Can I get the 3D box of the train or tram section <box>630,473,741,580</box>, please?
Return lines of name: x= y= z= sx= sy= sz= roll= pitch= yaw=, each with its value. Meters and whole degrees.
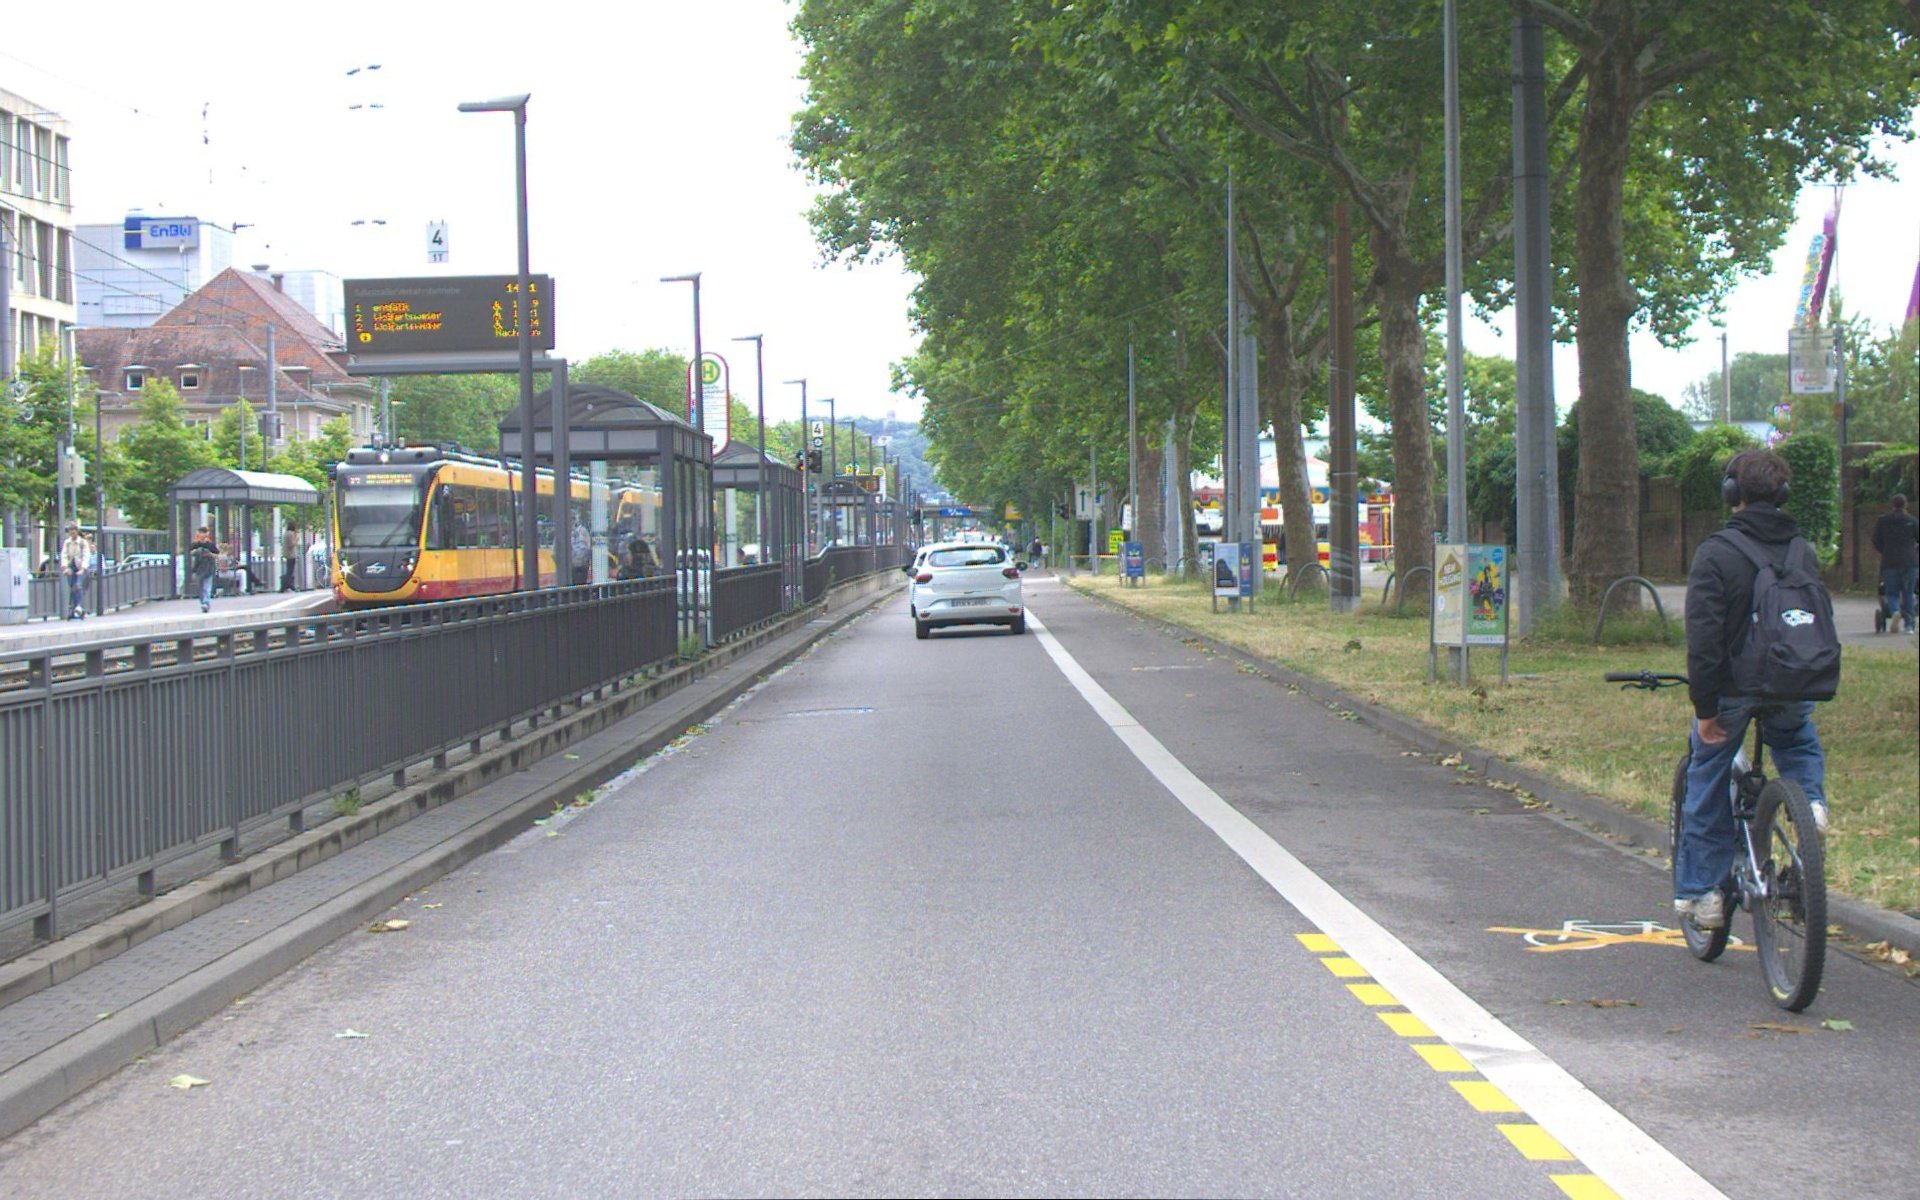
train or tram section: x=-11.364 y=-2.978 z=143.815 sx=3.180 sy=4.164 sz=14.734 roll=-1 pitch=1 yaw=1

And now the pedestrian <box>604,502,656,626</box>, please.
pedestrian: x=-4.840 y=-0.528 z=50.431 sx=0.670 sy=1.787 sz=1.113 roll=-1 pitch=0 yaw=-8

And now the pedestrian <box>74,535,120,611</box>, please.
pedestrian: x=-23.169 y=-0.730 z=92.299 sx=0.933 sy=2.007 sz=1.032 roll=-1 pitch=0 yaw=-1

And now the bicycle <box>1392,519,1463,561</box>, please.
bicycle: x=13.404 y=-1.723 z=98.582 sx=1.890 sy=1.101 sz=0.550 roll=-3 pitch=1 yaw=-1

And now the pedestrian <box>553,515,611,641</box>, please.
pedestrian: x=-5.454 y=-0.321 z=49.610 sx=0.670 sy=1.787 sz=1.113 roll=-1 pitch=0 yaw=-13

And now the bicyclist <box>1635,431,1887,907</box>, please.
bicyclist: x=2.657 y=0.221 z=11.454 sx=0.641 sy=1.525 sz=0.665 roll=-1 pitch=0 yaw=-1

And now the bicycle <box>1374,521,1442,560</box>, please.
bicycle: x=13.513 y=-1.802 z=103.744 sx=1.921 sy=1.087 sz=0.550 roll=-3 pitch=1 yaw=-1

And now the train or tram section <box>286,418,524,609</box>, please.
train or tram section: x=-12.123 y=-1.825 z=76.281 sx=3.237 sy=3.848 sz=11.311 roll=-1 pitch=1 yaw=1

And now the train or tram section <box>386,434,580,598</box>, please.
train or tram section: x=-11.999 y=-2.061 z=87.653 sx=3.163 sy=3.848 sz=11.311 roll=-1 pitch=1 yaw=1

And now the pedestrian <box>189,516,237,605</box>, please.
pedestrian: x=-15.249 y=-0.803 z=70.196 sx=0.711 sy=1.789 sz=1.160 roll=-1 pitch=0 yaw=-1

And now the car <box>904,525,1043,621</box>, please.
car: x=0.256 y=-0.441 z=55.529 sx=1.885 sy=1.448 sz=3.999 roll=-1 pitch=1 yaw=5

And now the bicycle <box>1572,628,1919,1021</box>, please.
bicycle: x=2.645 y=0.695 z=11.652 sx=0.652 sy=1.146 sz=2.283 roll=-1 pitch=0 yaw=-2

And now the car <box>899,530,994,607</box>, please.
car: x=-0.258 y=-0.685 z=73.098 sx=1.841 sy=1.546 sz=4.000 roll=-2 pitch=1 yaw=2

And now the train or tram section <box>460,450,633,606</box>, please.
train or tram section: x=-11.884 y=-2.021 z=100.197 sx=3.180 sy=4.164 sz=13.620 roll=-1 pitch=1 yaw=1

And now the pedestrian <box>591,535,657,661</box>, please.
pedestrian: x=-3.602 y=-0.024 z=36.854 sx=0.610 sy=1.336 sz=0.600 roll=-1 pitch=0 yaw=1

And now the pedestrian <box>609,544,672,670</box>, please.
pedestrian: x=-3.544 y=0.075 z=38.140 sx=0.610 sy=1.368 sz=0.600 roll=-1 pitch=0 yaw=1

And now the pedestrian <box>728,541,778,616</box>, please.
pedestrian: x=-3.633 y=-0.378 z=60.395 sx=0.835 sy=1.299 sz=0.613 roll=-1 pitch=0 yaw=-1

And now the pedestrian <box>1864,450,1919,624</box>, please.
pedestrian: x=11.037 y=-0.738 z=40.334 sx=0.583 sy=2.007 sz=0.924 roll=-1 pitch=0 yaw=0

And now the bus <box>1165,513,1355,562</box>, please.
bus: x=15.056 y=-3.147 z=172.815 sx=9.276 sy=2.220 sz=2.000 roll=-1 pitch=0 yaw=-2

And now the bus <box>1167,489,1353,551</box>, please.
bus: x=15.347 y=-4.108 z=176.277 sx=9.276 sy=2.949 sz=2.000 roll=-1 pitch=0 yaw=-2
